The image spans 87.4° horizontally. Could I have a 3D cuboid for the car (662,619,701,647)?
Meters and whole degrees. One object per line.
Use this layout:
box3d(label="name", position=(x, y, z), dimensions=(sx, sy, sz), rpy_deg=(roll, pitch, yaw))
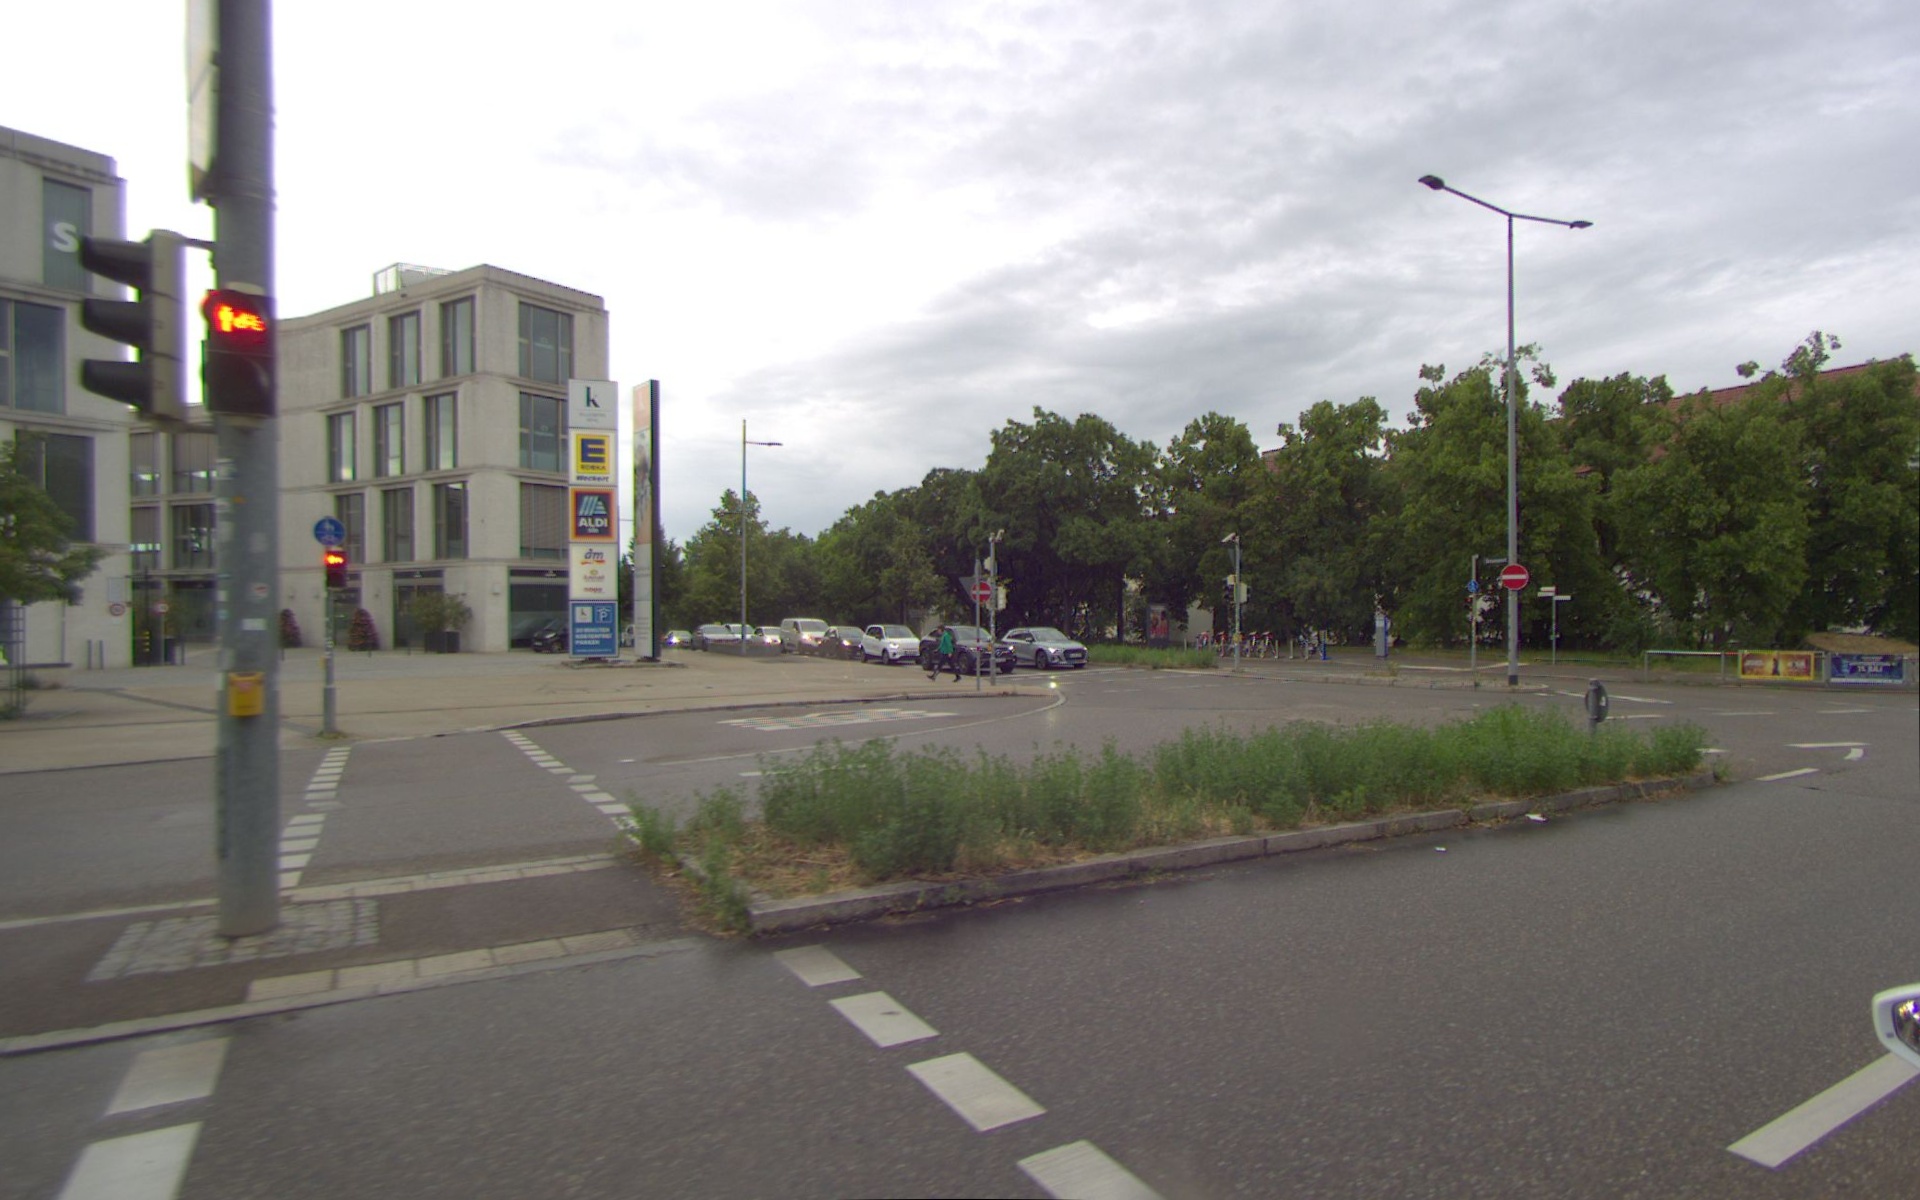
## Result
box3d(label="car", position=(-21.010, 2.471, 75.662), dimensions=(1.976, 2.040, 3.969), rpy_deg=(1, -1, -29))

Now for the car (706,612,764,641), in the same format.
box3d(label="car", position=(-13.755, 1.606, 61.253), dimensions=(1.978, 1.615, 4.852), rpy_deg=(2, 0, -31))

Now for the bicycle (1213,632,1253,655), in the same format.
box3d(label="bicycle", position=(13.117, 2.093, 48.262), dimensions=(1.959, 1.085, 0.649), rpy_deg=(2, 0, -31))

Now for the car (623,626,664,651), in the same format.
box3d(label="car", position=(-23.607, 2.851, 74.829), dimensions=(1.976, 1.615, 4.855), rpy_deg=(2, 0, -30))

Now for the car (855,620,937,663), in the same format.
box3d(label="car", position=(-2.677, 1.672, 41.203), dimensions=(1.976, 1.615, 3.535), rpy_deg=(2, 0, -30))

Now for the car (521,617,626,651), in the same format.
box3d(label="car", position=(-17.434, 1.522, 45.447), dimensions=(1.968, 1.483, 3.985), rpy_deg=(0, -2, 37))

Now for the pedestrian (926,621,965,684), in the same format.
box3d(label="pedestrian", position=(-0.426, 1.520, 29.257), dimensions=(0.930, 1.750, 0.923), rpy_deg=(1, 0, -12))

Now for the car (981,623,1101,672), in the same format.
box3d(label="car", position=(2.897, 1.707, 37.238), dimensions=(1.976, 1.568, 5.001), rpy_deg=(2, 0, -30))

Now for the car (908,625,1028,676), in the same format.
box3d(label="car", position=(0.180, 1.721, 35.426), dimensions=(1.976, 1.520, 5.001), rpy_deg=(2, 0, -30))

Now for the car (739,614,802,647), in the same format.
box3d(label="car", position=(-10.535, 1.668, 55.544), dimensions=(1.976, 1.615, 4.855), rpy_deg=(2, 0, -30))

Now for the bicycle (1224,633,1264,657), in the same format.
box3d(label="bicycle", position=(13.421, 2.110, 47.403), dimensions=(1.959, 1.085, 0.649), rpy_deg=(2, 0, -31))

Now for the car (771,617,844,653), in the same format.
box3d(label="car", position=(-7.731, 1.720, 50.565), dimensions=(1.976, 1.615, 4.855), rpy_deg=(2, 0, -30))

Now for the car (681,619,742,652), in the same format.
box3d(label="car", position=(-13.605, 1.903, 54.839), dimensions=(1.976, 1.615, 4.855), rpy_deg=(2, 0, -30))

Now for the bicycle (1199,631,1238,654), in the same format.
box3d(label="bicycle", position=(12.681, 2.105, 49.261), dimensions=(1.959, 1.085, 0.649), rpy_deg=(2, 0, -31))

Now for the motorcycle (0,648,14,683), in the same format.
box3d(label="motorcycle", position=(-22.005, 1.471, 22.745), dimensions=(1.081, 0.750, 0.522), rpy_deg=(1, 0, 29))

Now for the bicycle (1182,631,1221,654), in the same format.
box3d(label="bicycle", position=(12.008, 2.121, 49.988), dimensions=(1.959, 1.085, 0.649), rpy_deg=(2, 0, -31))

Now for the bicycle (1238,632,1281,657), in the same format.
box3d(label="bicycle", position=(13.993, 2.074, 46.880), dimensions=(1.959, 1.085, 0.798), rpy_deg=(2, 0, -31))

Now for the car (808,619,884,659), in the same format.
box3d(label="car", position=(-5.278, 1.765, 46.027), dimensions=(1.976, 1.615, 4.184), rpy_deg=(2, 0, -30))

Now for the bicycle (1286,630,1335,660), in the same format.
box3d(label="bicycle", position=(15.517, 1.988, 44.497), dimensions=(1.959, 1.266, 0.986), rpy_deg=(2, 0, -31))
